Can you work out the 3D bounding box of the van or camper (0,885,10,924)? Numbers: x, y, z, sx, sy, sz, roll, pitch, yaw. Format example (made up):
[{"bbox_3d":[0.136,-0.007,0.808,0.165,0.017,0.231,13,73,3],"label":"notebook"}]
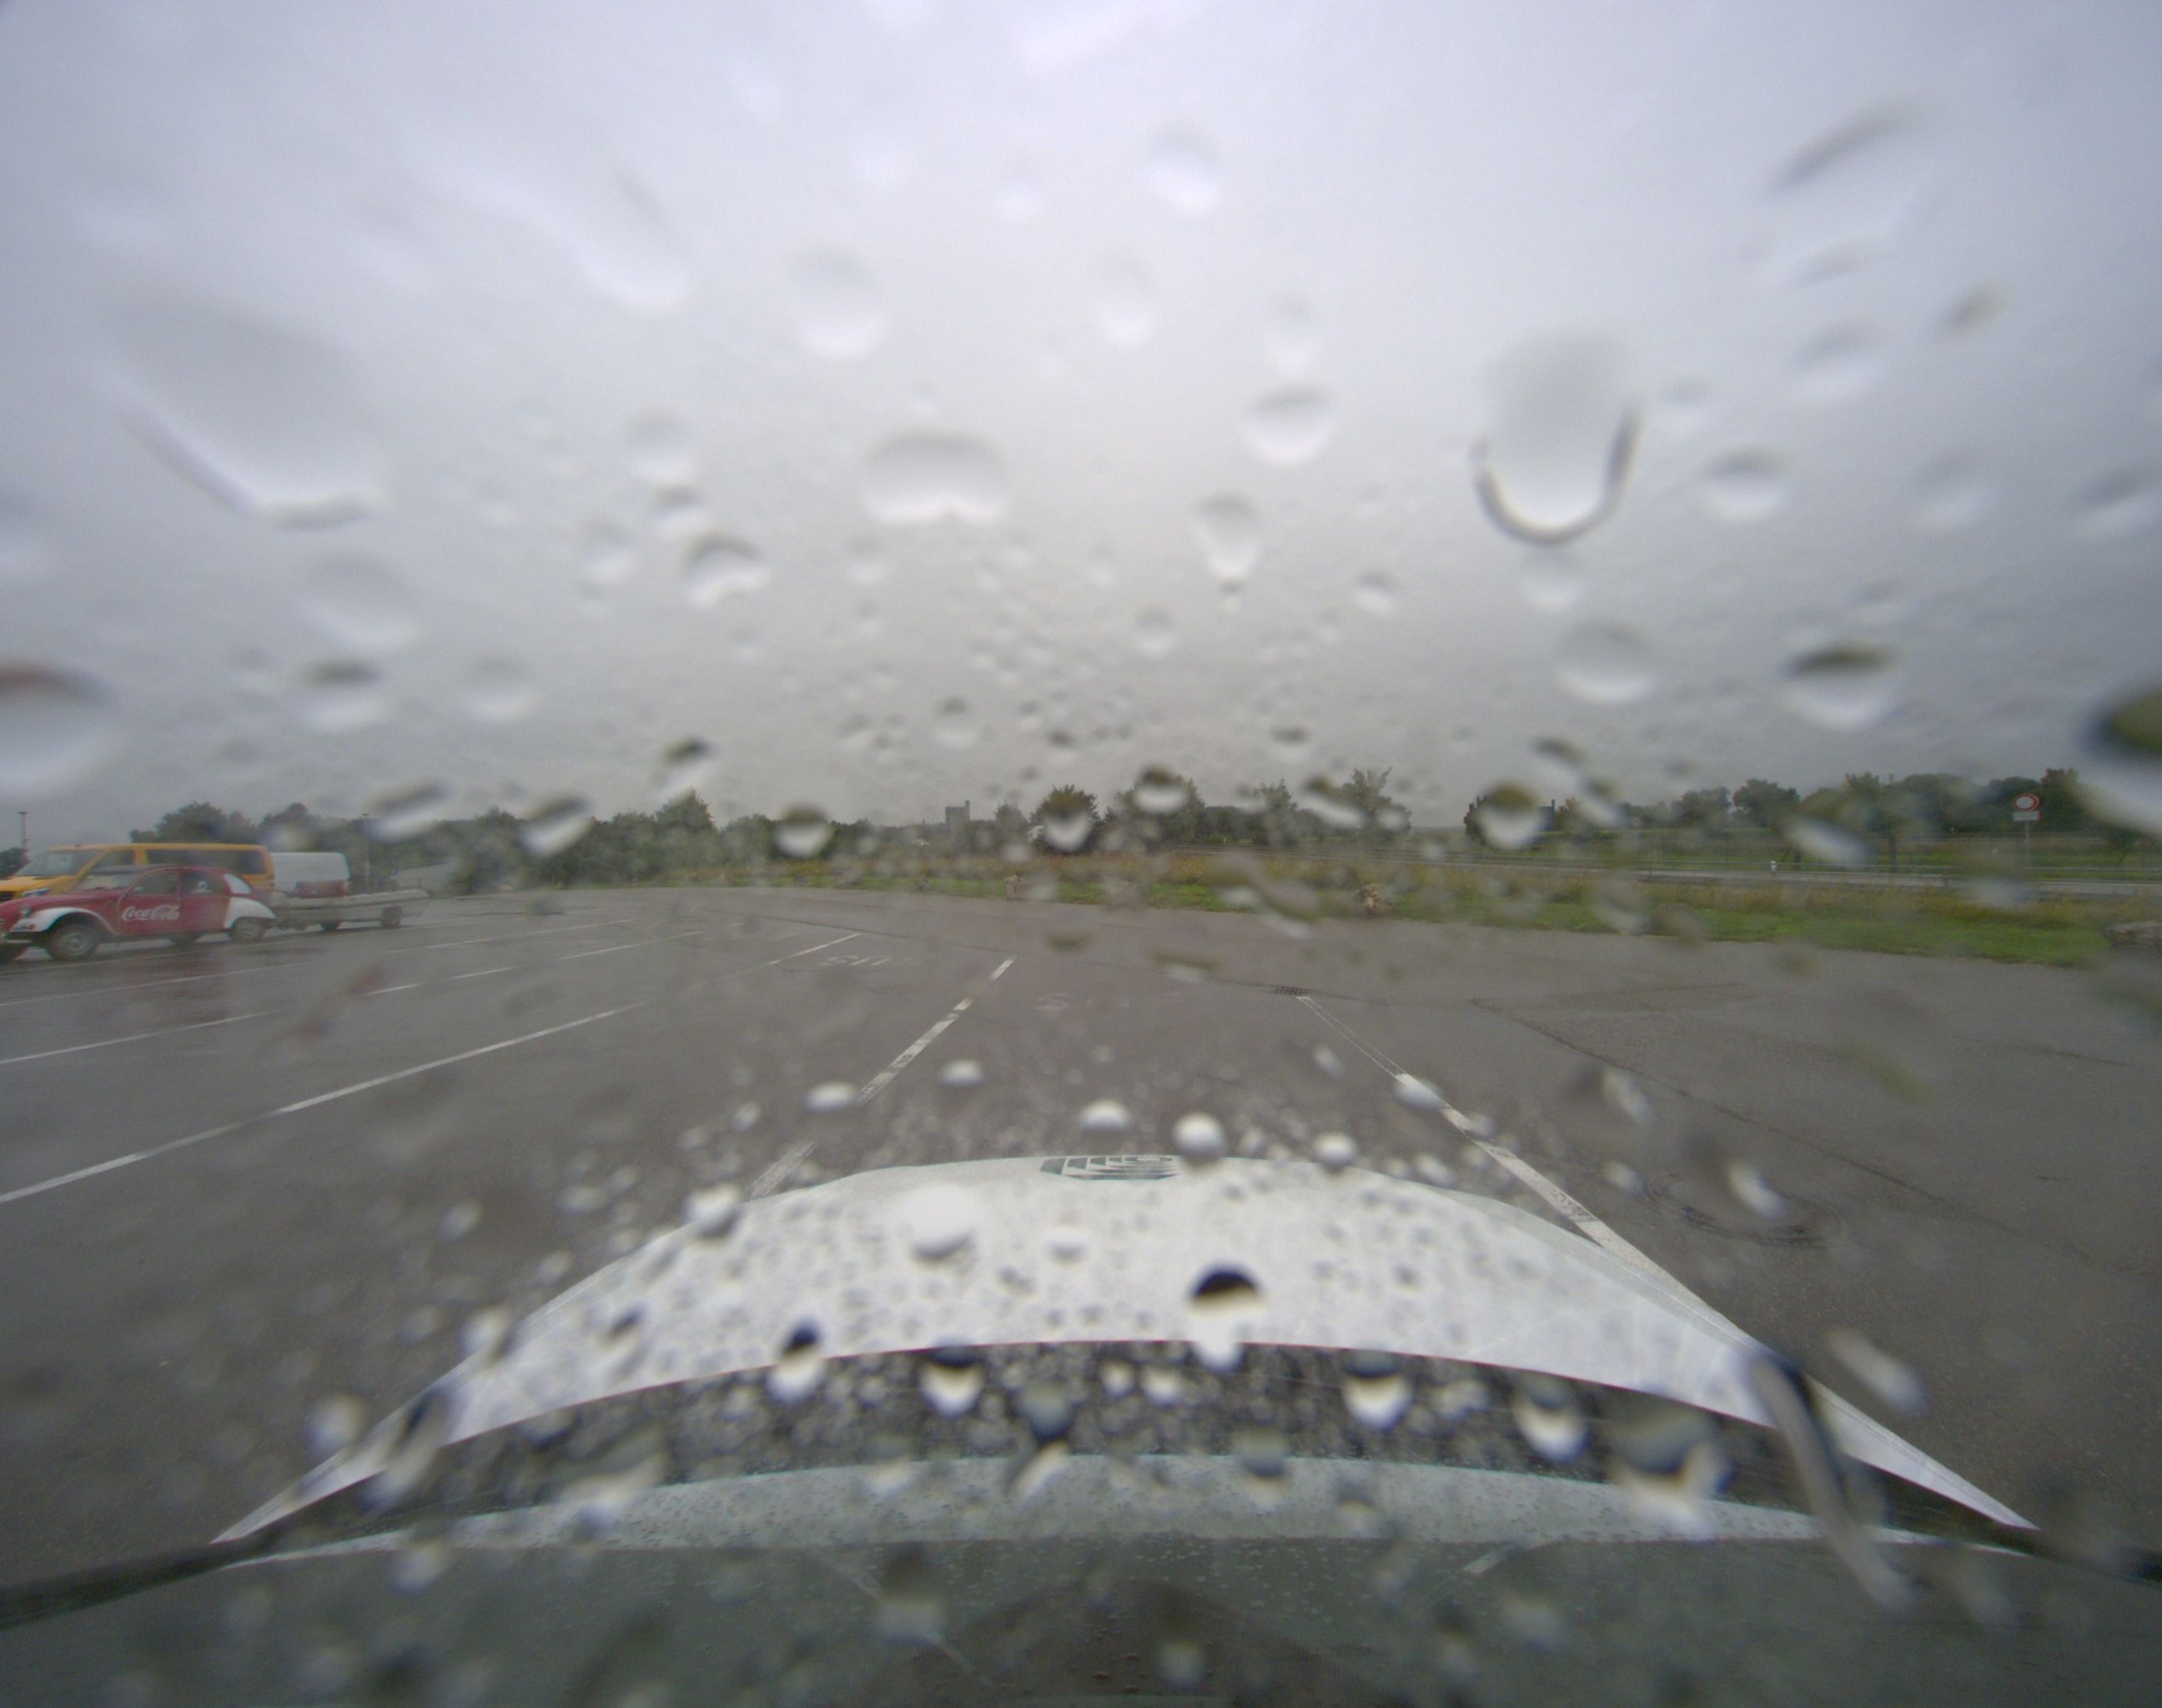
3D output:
[{"bbox_3d":[-62.422,2.926,46.042,3.948,2.166,2.013,-2,0,34],"label":"van or camper"}]

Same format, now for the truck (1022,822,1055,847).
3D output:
[{"bbox_3d":[-6.054,-2.684,114.241,2.745,3.391,8.022,-1,0,-16],"label":"truck"}]

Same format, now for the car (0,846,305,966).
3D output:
[{"bbox_3d":[-16.541,0.801,14.259,1.813,1.777,4.006,-2,0,5],"label":"car"}]

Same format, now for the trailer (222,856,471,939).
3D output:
[{"bbox_3d":[-16.169,0.880,18.253,1.687,1.532,4.006,-2,0,5],"label":"trailer"}]

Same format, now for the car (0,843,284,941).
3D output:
[{"bbox_3d":[-26.710,0.987,23.104,1.986,2.380,6.028,-4,0,2],"label":"car"}]
